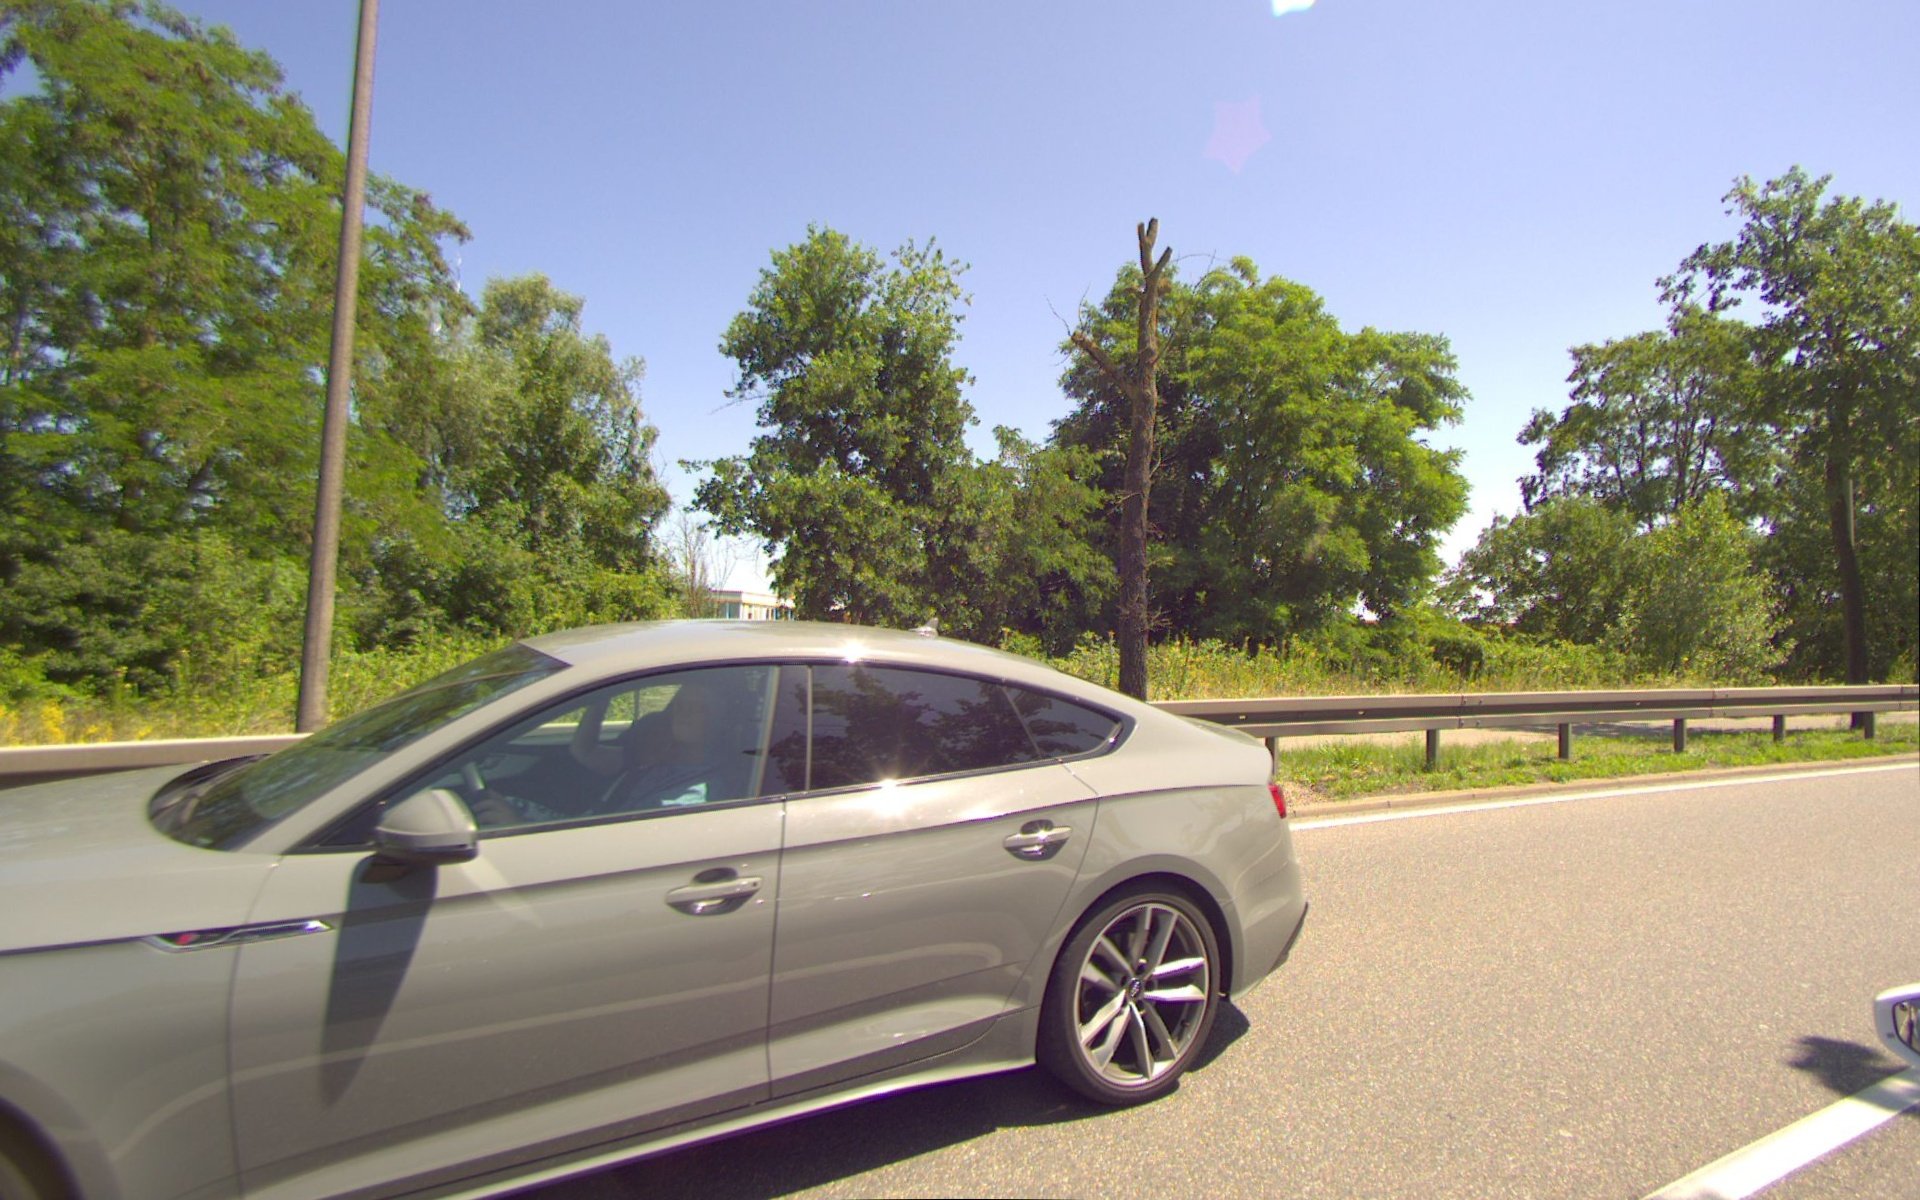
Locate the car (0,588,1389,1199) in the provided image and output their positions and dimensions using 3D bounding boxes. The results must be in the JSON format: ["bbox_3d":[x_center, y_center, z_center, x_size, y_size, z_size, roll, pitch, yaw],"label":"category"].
[{"bbox_3d":[-0.853,0.723,3.081,4.355,1.414,1.751,2,0,-31],"label":"car"}]
